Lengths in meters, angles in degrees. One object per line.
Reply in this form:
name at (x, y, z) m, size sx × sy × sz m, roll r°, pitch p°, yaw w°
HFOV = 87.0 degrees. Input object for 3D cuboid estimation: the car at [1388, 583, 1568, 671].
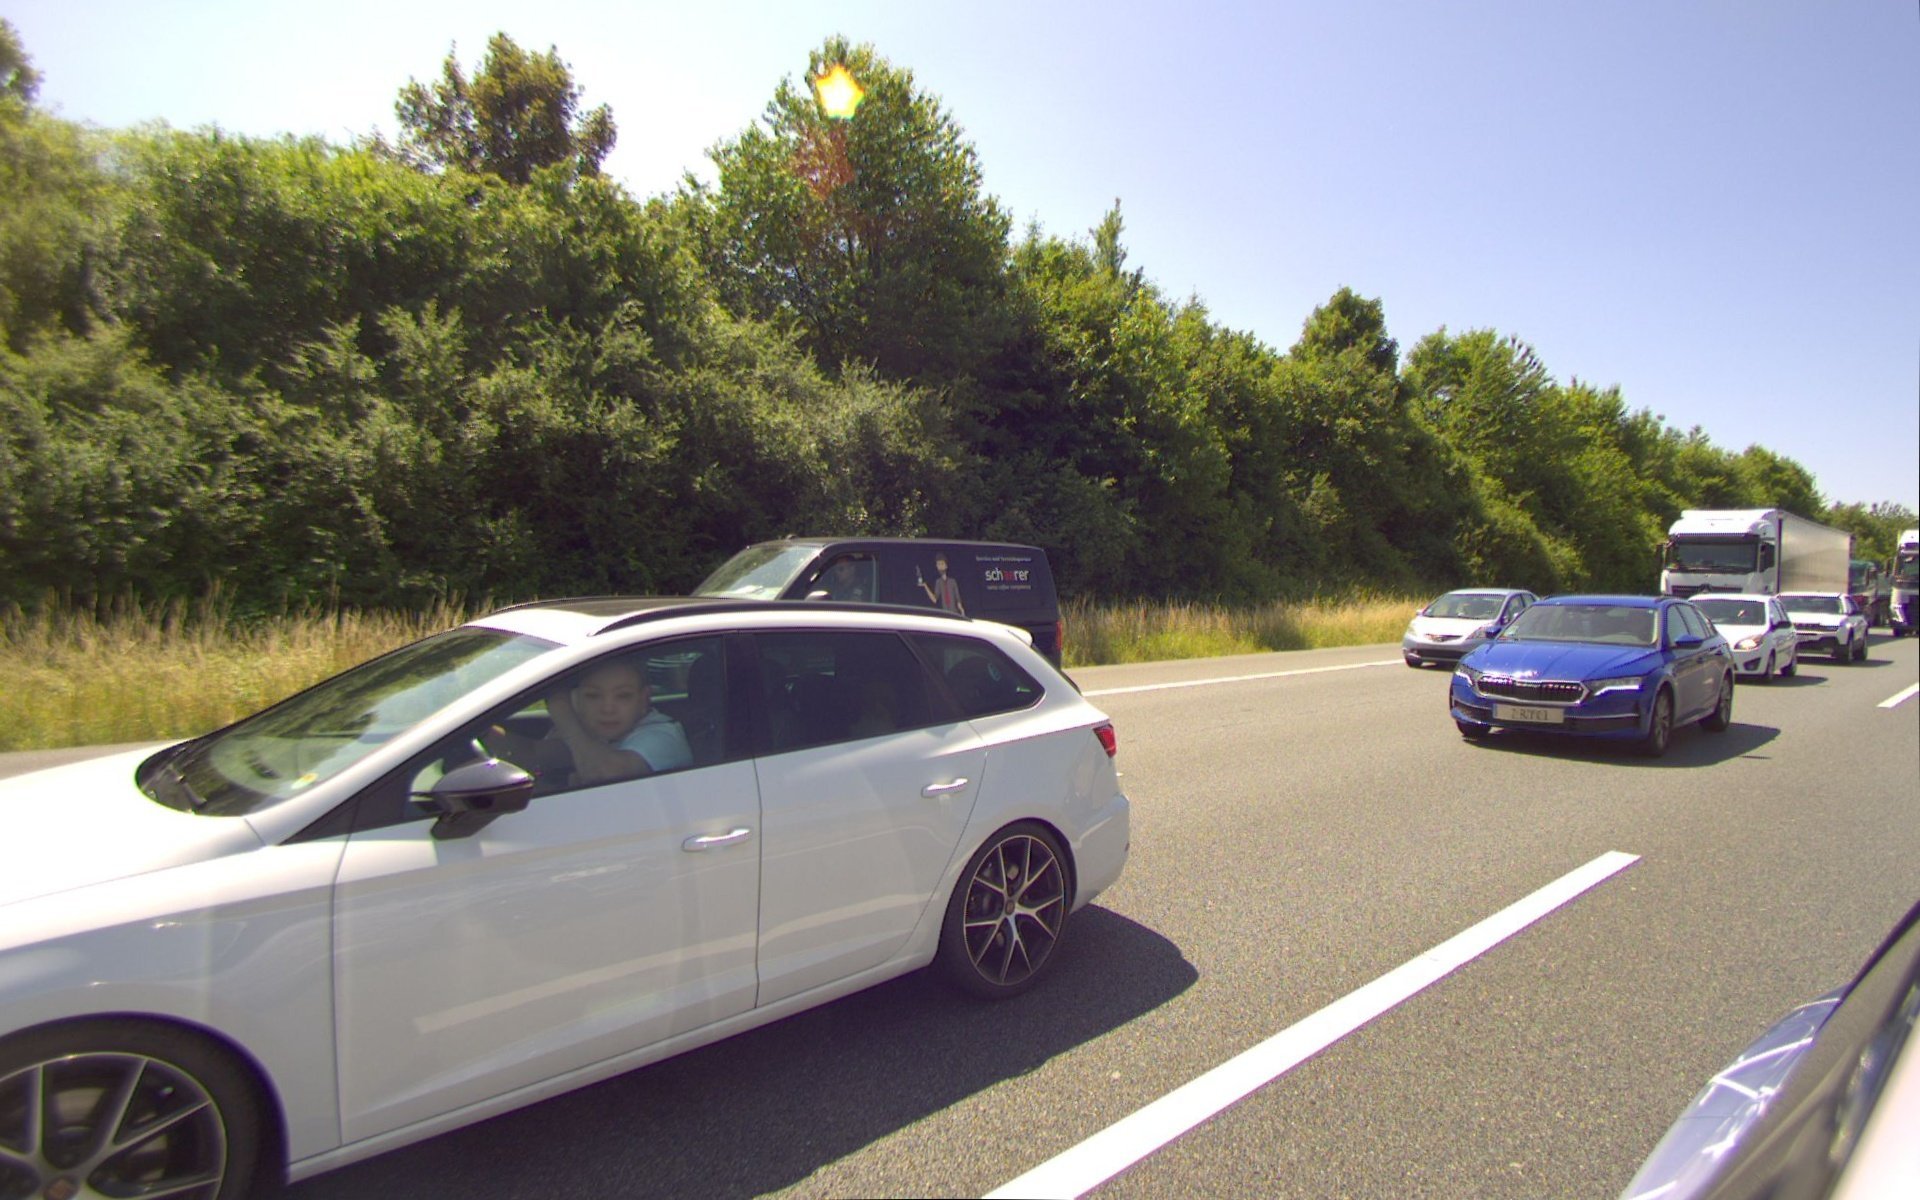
car at (9.811, 0.440, 19.065) m, size 3.853 × 1.479 × 1.665 m, roll 0°, pitch 2°, yaw -41°

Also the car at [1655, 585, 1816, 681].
car at (13.597, 0.483, 17.672) m, size 3.746 × 1.452 × 1.607 m, roll -1°, pitch 2°, yaw -43°

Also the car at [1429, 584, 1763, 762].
car at (6.809, 0.576, 10.620) m, size 4.494 × 1.434 × 1.779 m, roll -1°, pitch 2°, yaw -42°

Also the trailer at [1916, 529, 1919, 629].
trailer at (42.597, -0.887, 42.417) m, size 8.996 × 4.024 × 2.774 m, roll -1°, pitch 0°, yaw -41°

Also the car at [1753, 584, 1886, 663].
car at (19.233, 0.452, 22.606) m, size 3.818 × 1.577 × 1.746 m, roll -1°, pitch 2°, yaw -42°

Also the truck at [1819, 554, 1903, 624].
truck at (43.138, -0.532, 48.396) m, size 5.576 × 3.185 × 2.298 m, roll -1°, pitch 0°, yaw -41°

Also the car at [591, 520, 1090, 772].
car at (-0.988, 0.304, 10.185) m, size 4.773 × 1.964 × 1.916 m, roll -1°, pitch 1°, yaw -42°

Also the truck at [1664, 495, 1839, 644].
truck at (25.472, -0.920, 32.394) m, size 8.327 × 4.209 × 2.878 m, roll -1°, pitch 0°, yaw -41°

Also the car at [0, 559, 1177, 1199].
car at (-1.263, 0.622, 3.396) m, size 4.239 × 1.461 × 1.750 m, roll -1°, pitch 1°, yaw -42°

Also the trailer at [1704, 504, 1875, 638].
trailer at (30.445, -0.989, 36.854) m, size 11.864 × 4.209 × 2.878 m, roll -1°, pitch 0°, yaw -41°

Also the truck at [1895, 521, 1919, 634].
truck at (37.893, -0.842, 38.319) m, size 8.214 × 4.045 × 2.748 m, roll -1°, pitch 0°, yaw -41°
